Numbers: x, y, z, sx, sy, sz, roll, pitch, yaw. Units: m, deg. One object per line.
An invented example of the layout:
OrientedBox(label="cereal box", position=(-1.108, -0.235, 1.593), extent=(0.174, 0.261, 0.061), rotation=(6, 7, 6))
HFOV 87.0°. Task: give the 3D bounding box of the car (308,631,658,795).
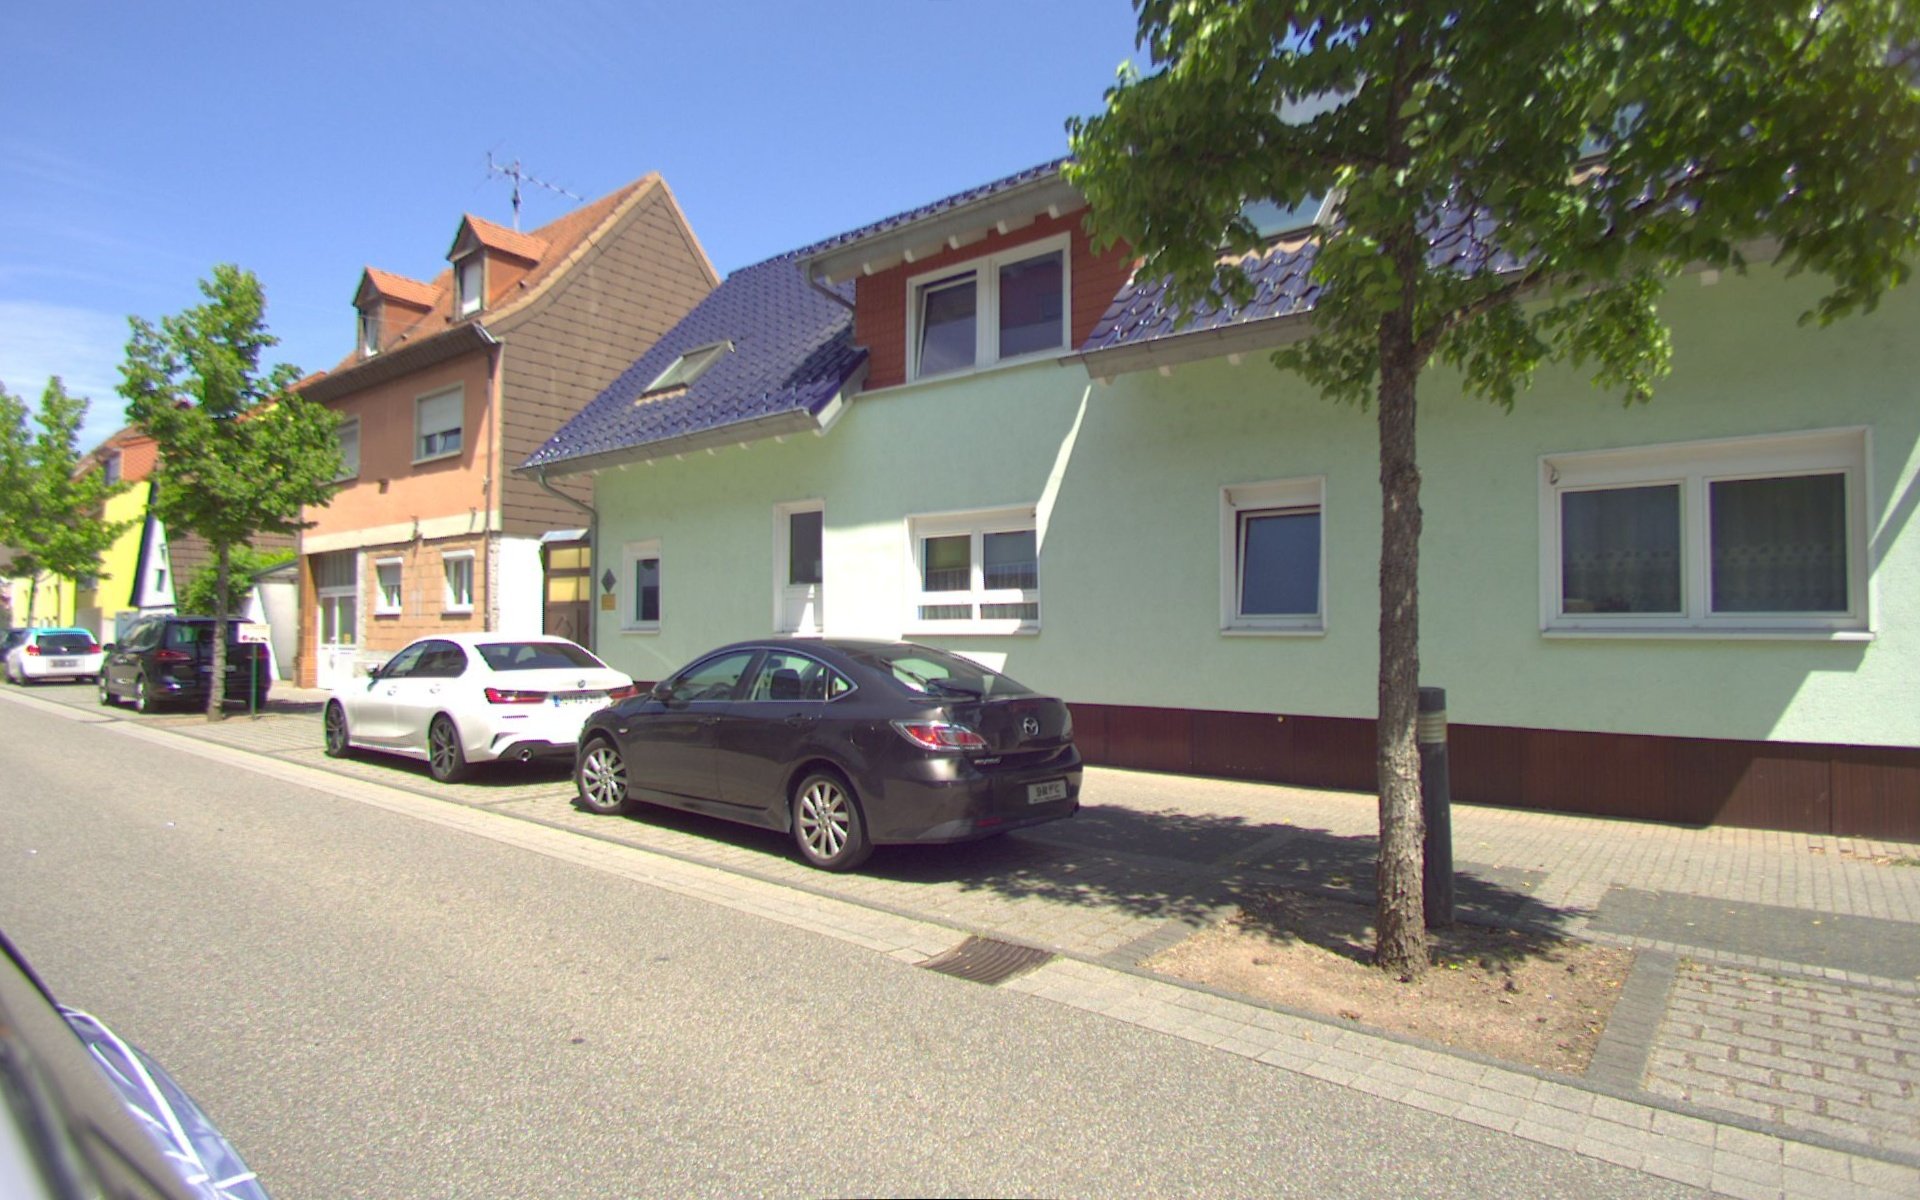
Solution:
OrientedBox(label="car", position=(-5.343, 1.072, 11.078), extent=(4.455, 1.448, 1.703), rotation=(-1, -3, 39))

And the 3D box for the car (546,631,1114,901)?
OrientedBox(label="car", position=(-1.215, 0.962, 7.593), extent=(4.536, 1.448, 1.643), rotation=(-2, -3, 41))

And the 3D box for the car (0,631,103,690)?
OrientedBox(label="car", position=(-23.668, 1.536, 26.280), extent=(3.407, 1.441, 1.538), rotation=(-1, -3, 40))

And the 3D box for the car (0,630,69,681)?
OrientedBox(label="car", position=(-28.318, 1.653, 30.422), extent=(4.095, 1.441, 1.629), rotation=(-1, -4, 40))

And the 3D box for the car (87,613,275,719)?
OrientedBox(label="car", position=(-14.604, 1.165, 18.884), extent=(4.515, 1.739, 1.758), rotation=(-2, -3, 39))
